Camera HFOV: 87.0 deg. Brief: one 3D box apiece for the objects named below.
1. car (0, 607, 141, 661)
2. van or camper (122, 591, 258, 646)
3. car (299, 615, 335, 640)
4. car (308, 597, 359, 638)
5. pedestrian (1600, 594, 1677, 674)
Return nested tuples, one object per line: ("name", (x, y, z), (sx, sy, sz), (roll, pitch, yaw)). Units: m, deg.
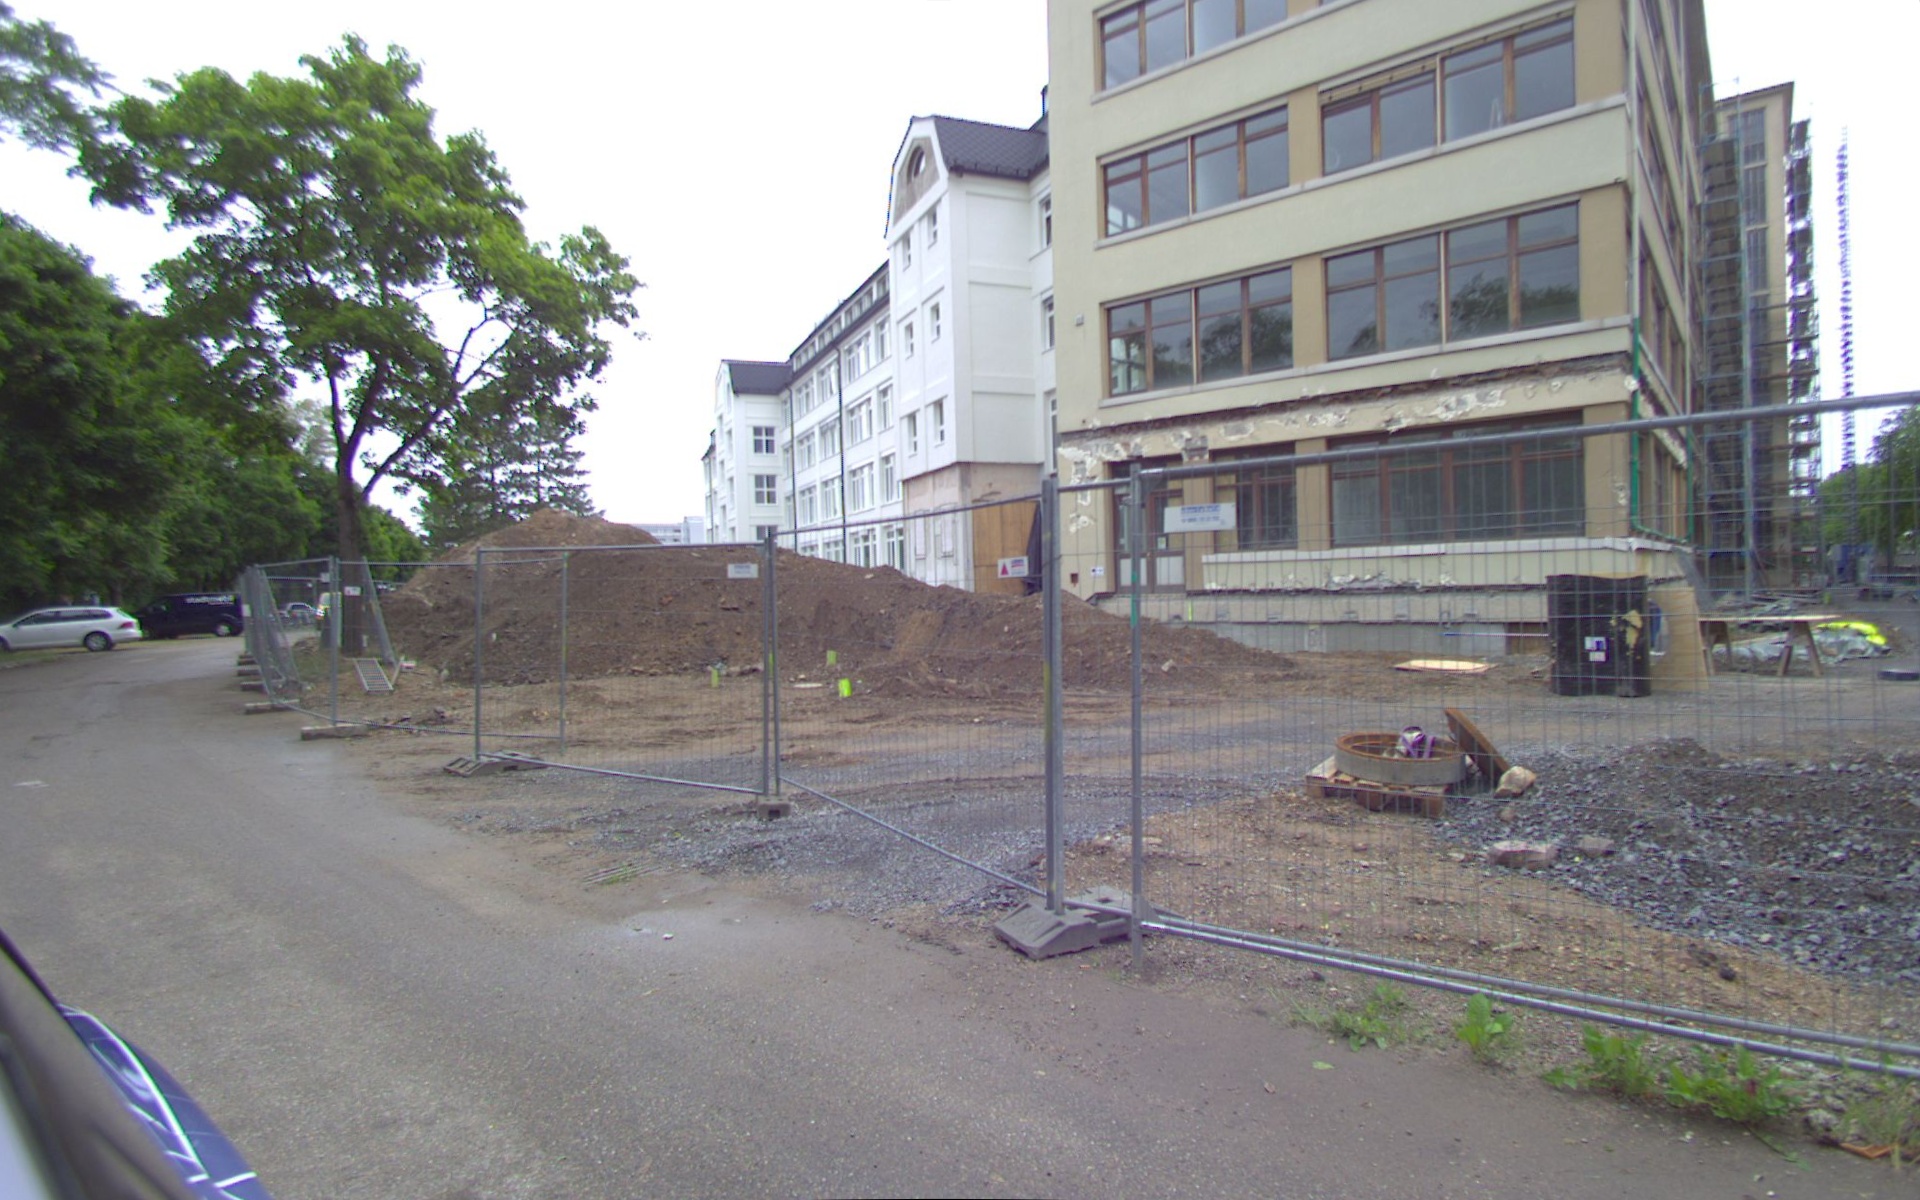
("car", (-29.514, 1.084, 33.282), (3.822, 1.586, 1.756), (-2, 1, -35))
("van or camper", (-34.181, 0.772, 45.092), (4.423, 2.275, 2.007), (-1, 0, -23))
("car", (-44.622, 1.910, 70.291), (1.966, 1.608, 4.012), (-2, 0, -31))
("car", (-33.161, 0.890, 53.687), (2.089, 2.029, 4.012), (-2, 0, -29))
("pedestrian", (12.717, 0.624, 18.996), (0.975, 1.448, 0.925), (-1, 0, 20))
